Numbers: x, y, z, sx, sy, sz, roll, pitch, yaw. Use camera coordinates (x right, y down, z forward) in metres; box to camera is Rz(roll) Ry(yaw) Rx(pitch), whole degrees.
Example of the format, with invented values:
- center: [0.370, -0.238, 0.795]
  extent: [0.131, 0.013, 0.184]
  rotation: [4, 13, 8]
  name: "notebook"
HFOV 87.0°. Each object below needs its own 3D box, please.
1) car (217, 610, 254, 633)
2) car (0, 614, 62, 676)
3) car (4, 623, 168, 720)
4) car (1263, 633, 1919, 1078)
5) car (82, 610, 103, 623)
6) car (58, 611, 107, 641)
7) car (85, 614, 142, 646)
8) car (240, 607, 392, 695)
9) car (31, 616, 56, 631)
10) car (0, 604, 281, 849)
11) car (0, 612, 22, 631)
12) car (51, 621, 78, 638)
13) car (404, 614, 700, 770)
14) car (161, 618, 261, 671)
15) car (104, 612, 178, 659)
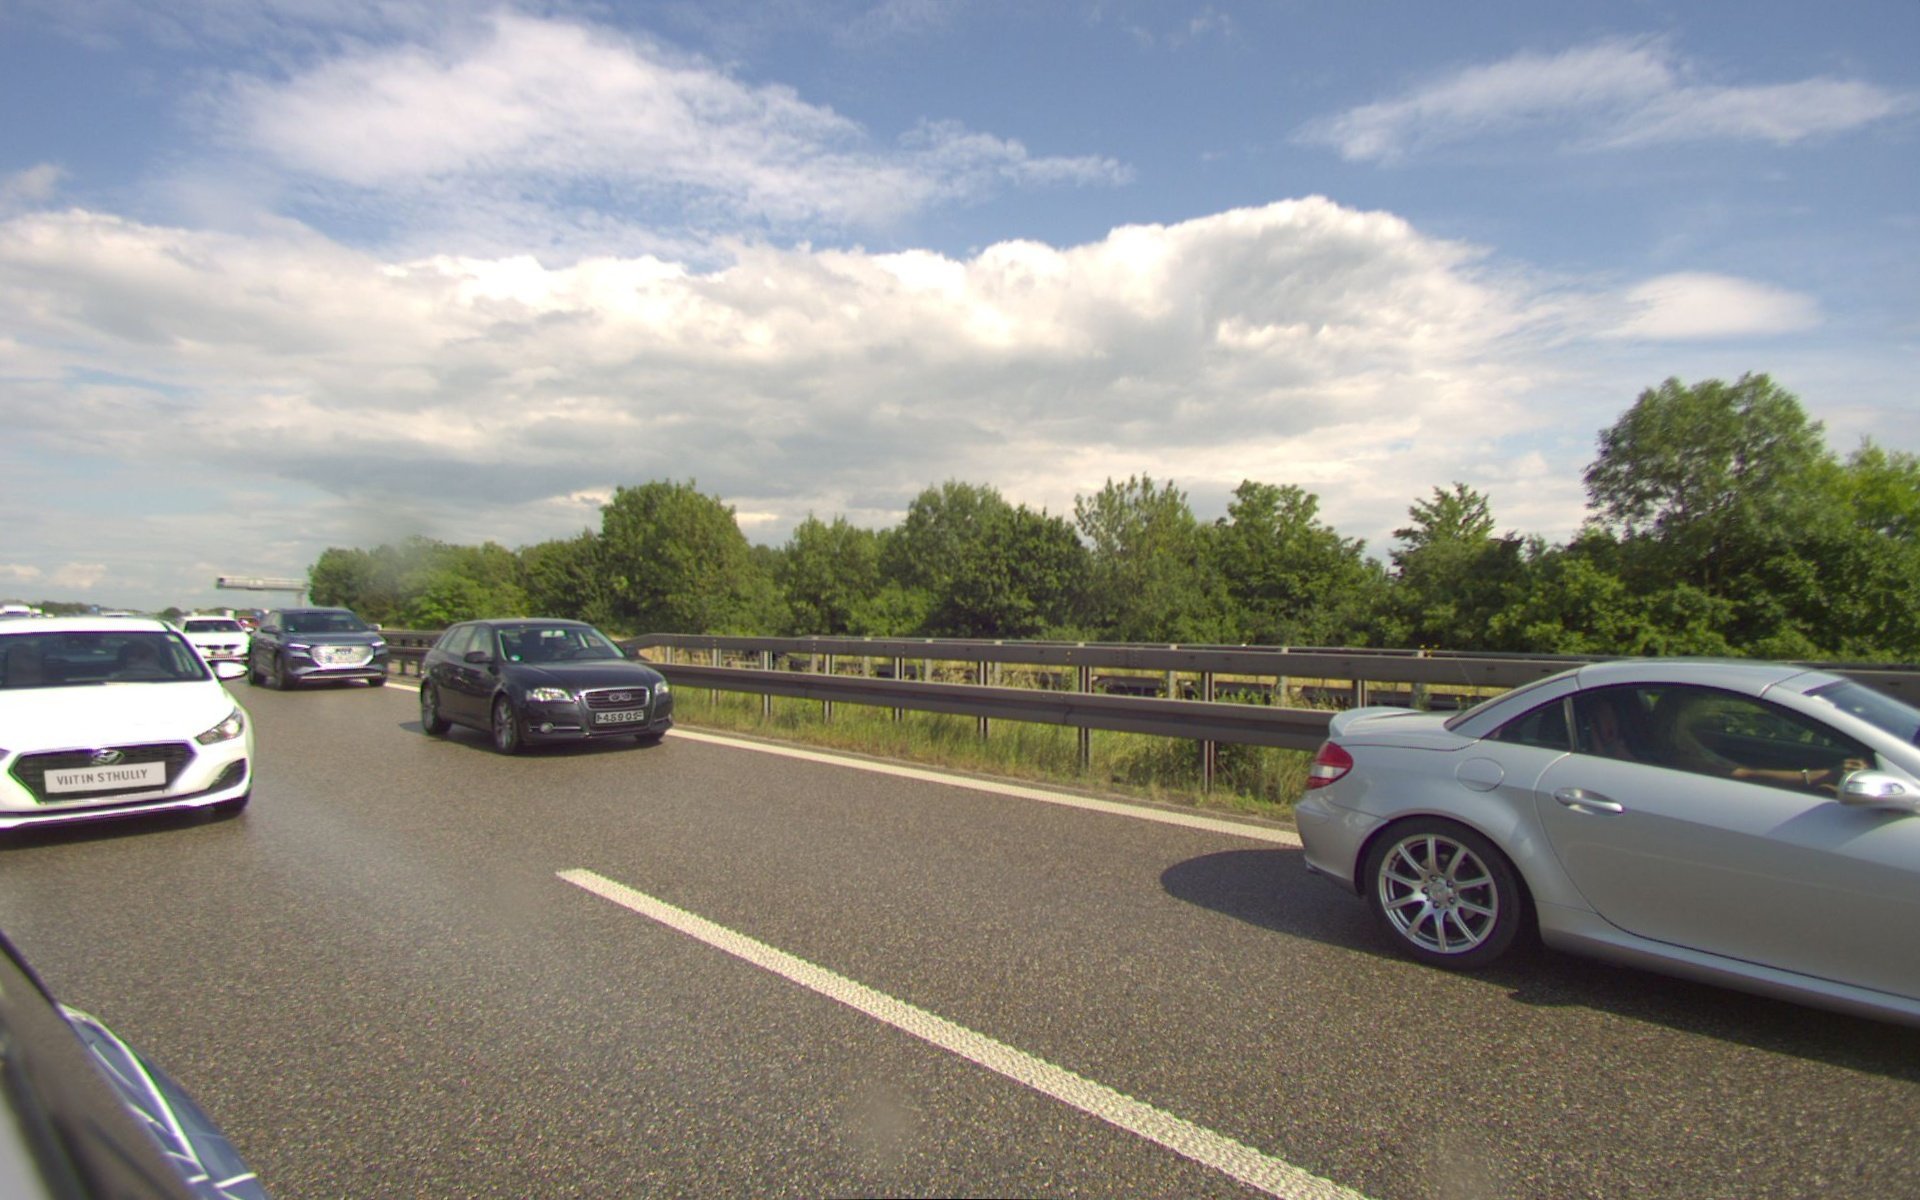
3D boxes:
- center: [-65.073, 1.940, 90.899]
  extent: [4.655, 2.029, 1.971]
  rotation: [-1, -1, 45]
  name: "car"
- center: [-25.289, 1.145, 26.838]
  extent: [4.002, 1.497, 1.971]
  rotation: [0, 0, 45]
  name: "car"
- center: [-14.210, 1.055, 16.373]
  extent: [1.705, 1.348, 4.290]
  rotation: [1, -1, -45]
  name: "car"
- center: [3.397, 0.794, 3.719]
  extent: [1.705, 1.288, 4.066]
  rotation: [1, -1, -45]
  name: "car"
- center: [-120.510, 2.263, 140.540]
  extent: [1.970, 1.792, 4.464]
  rotation: [0, -1, -44]
  name: "car"
- center: [-54.129, 1.586, 62.424]
  extent: [4.002, 1.710, 1.971]
  rotation: [0, 1, 45]
  name: "car"
- center: [-44.803, 1.561, 53.525]
  extent: [4.002, 1.490, 1.971]
  rotation: [0, 1, 45]
  name: "car"
- center: [-13.272, 0.967, 20.753]
  extent: [1.848, 1.618, 4.232]
  rotation: [0, -1, -44]
  name: "car"
- center: [-112.074, 2.830, 123.742]
  extent: [4.002, 1.710, 1.971]
  rotation: [0, 1, 45]
  name: "car"
- center: [-6.994, 0.791, 8.011]
  extent: [1.860, 1.466, 4.550]
  rotation: [1, -1, -45]
  name: "car"
- center: [-90.360, 2.034, 95.916]
  extent: [4.002, 1.710, 1.971]
  rotation: [0, 1, 45]
  name: "car"
- center: [-97.916, 3.221, 110.667]
  extent: [4.002, 1.710, 1.971]
  rotation: [0, 1, 45]
  name: "car"
- center: [-4.823, 0.895, 11.636]
  extent: [1.746, 1.436, 4.142]
  rotation: [0, 0, -44]
  name: "car"
- center: [-21.926, 1.250, 29.572]
  extent: [4.002, 1.389, 1.747]
  rotation: [0, -1, 45]
  name: "car"
- center: [-34.070, 1.427, 42.084]
  extent: [4.002, 1.762, 1.971]
  rotation: [0, 1, 45]
  name: "car"
